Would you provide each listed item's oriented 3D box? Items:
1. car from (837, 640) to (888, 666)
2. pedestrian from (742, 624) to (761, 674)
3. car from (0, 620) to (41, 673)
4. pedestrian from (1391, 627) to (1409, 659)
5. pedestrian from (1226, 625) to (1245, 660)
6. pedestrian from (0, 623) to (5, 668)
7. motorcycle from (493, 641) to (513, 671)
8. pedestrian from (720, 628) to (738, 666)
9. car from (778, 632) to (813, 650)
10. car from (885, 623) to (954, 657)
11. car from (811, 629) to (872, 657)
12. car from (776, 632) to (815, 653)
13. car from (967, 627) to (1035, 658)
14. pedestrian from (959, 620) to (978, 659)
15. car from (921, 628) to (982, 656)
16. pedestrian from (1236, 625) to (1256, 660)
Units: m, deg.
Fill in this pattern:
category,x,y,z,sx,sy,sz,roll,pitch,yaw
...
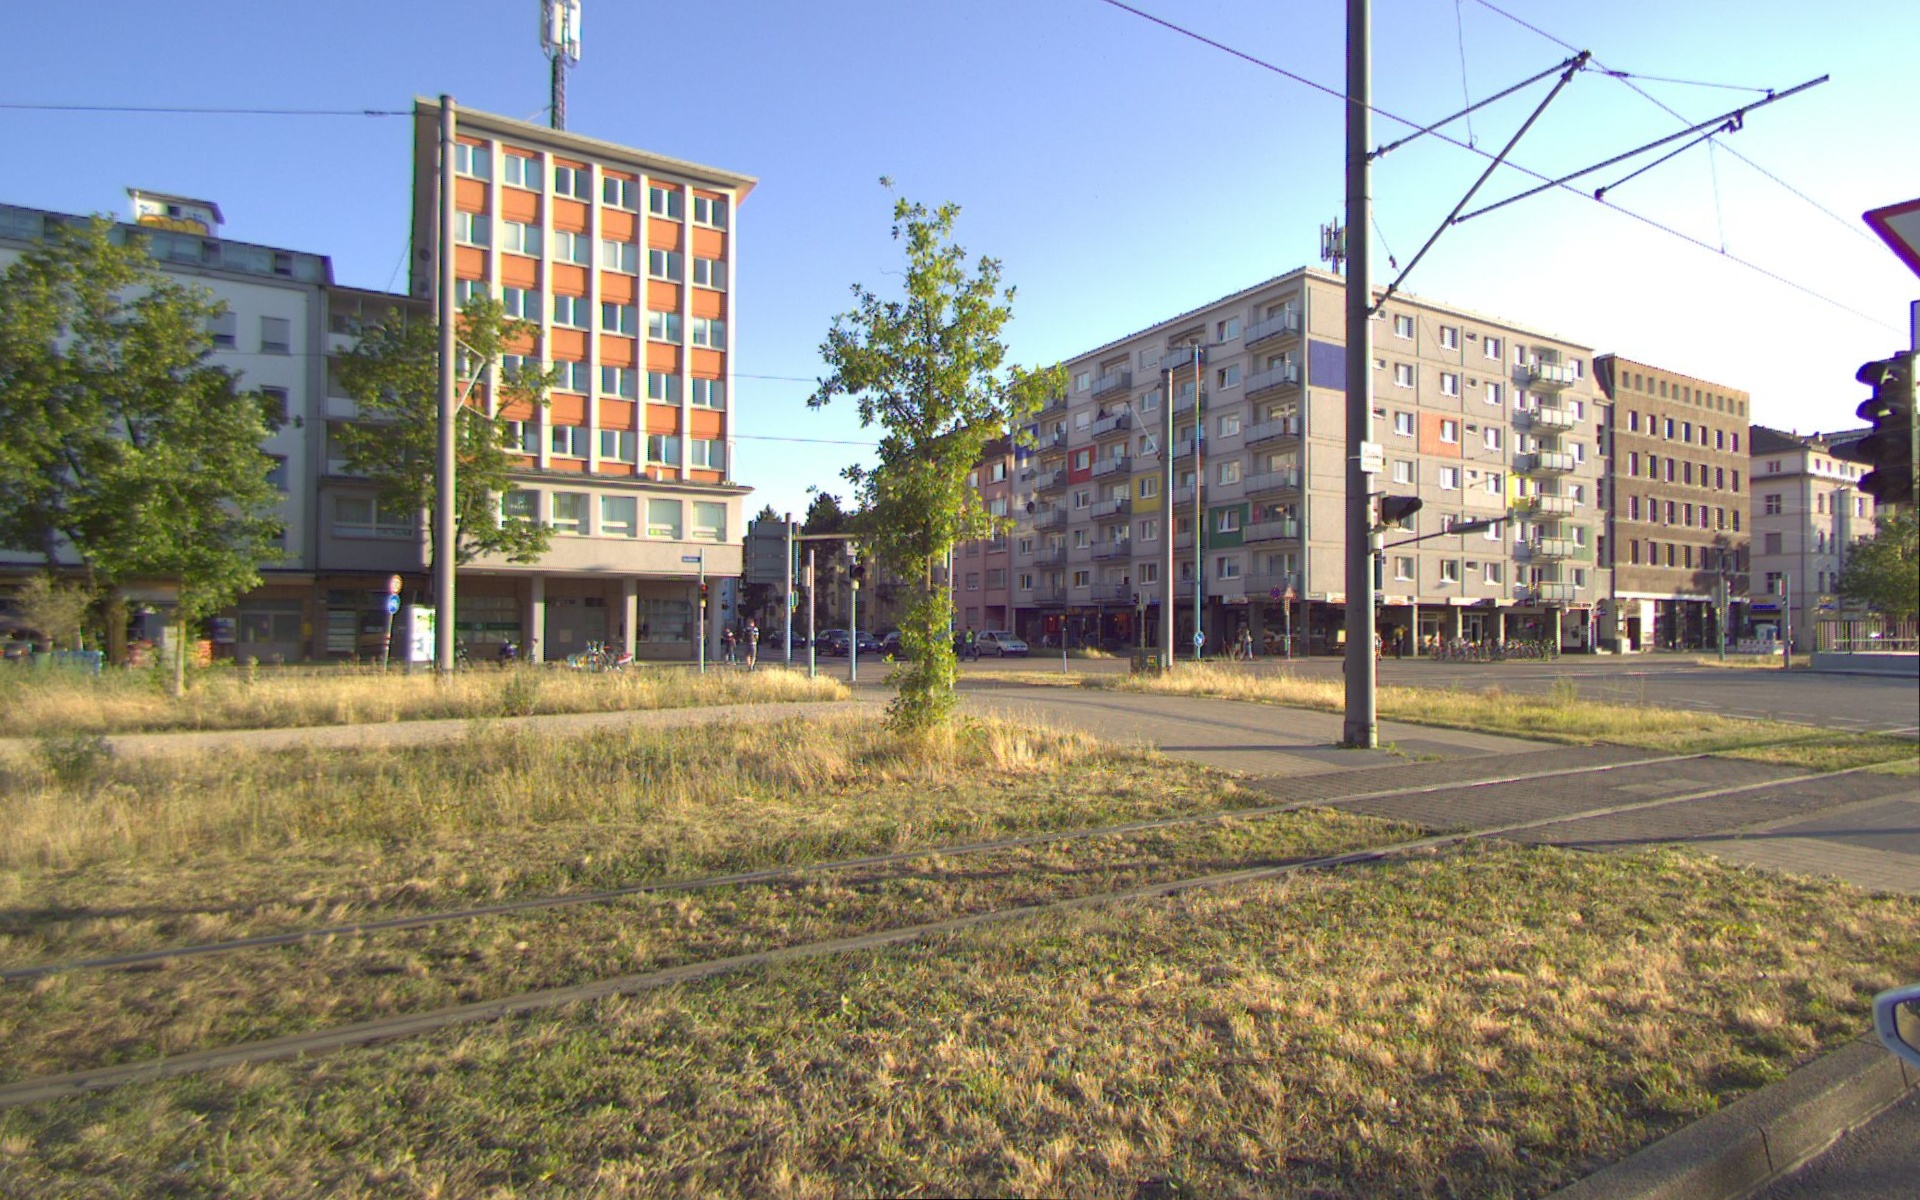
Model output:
category,x,y,z,sx,sy,sz,roll,pitch,yaw
car,-6.385,3.427,65.461,1.804,1.572,3.969,0,-1,-30
pedestrian,-7.673,1.785,36.933,0.638,1.786,0.721,-1,-1,-9
car,-30.236,1.397,29.711,4.213,1.547,1.758,-1,-1,-8
pedestrian,24.252,2.362,55.352,0.767,1.692,0.741,-1,-1,12
pedestrian,14.921,2.285,54.392,0.728,1.876,0.701,-1,-1,-30
pedestrian,-34.057,1.597,35.190,0.723,1.548,0.687,0,-1,-33
motorcycle,-17.389,2.112,38.229,0.525,1.082,1.442,0,-1,-31
pedestrian,-10.204,2.065,44.376,0.608,1.651,0.512,-1,-1,-30
car,-15.811,3.915,96.448,1.786,1.606,3.839,0,-1,-35
car,-2.127,2.104,52.343,1.786,1.605,3.840,0,-3,-35
car,-7.324,2.629,61.672,1.969,1.606,4.252,0,-1,-35
car,-13.131,3.381,79.825,1.804,1.572,3.969,0,-1,-30
car,2.239,2.336,55.417,1.786,1.606,3.839,0,-1,-35
pedestrian,0.420,1.903,48.586,0.673,1.872,0.630,-1,-1,-30
car,-0.569,2.477,60.093,1.786,1.606,3.839,0,-1,-35
pedestrian,15.268,2.261,53.651,0.812,1.872,0.599,-1,-1,-30
